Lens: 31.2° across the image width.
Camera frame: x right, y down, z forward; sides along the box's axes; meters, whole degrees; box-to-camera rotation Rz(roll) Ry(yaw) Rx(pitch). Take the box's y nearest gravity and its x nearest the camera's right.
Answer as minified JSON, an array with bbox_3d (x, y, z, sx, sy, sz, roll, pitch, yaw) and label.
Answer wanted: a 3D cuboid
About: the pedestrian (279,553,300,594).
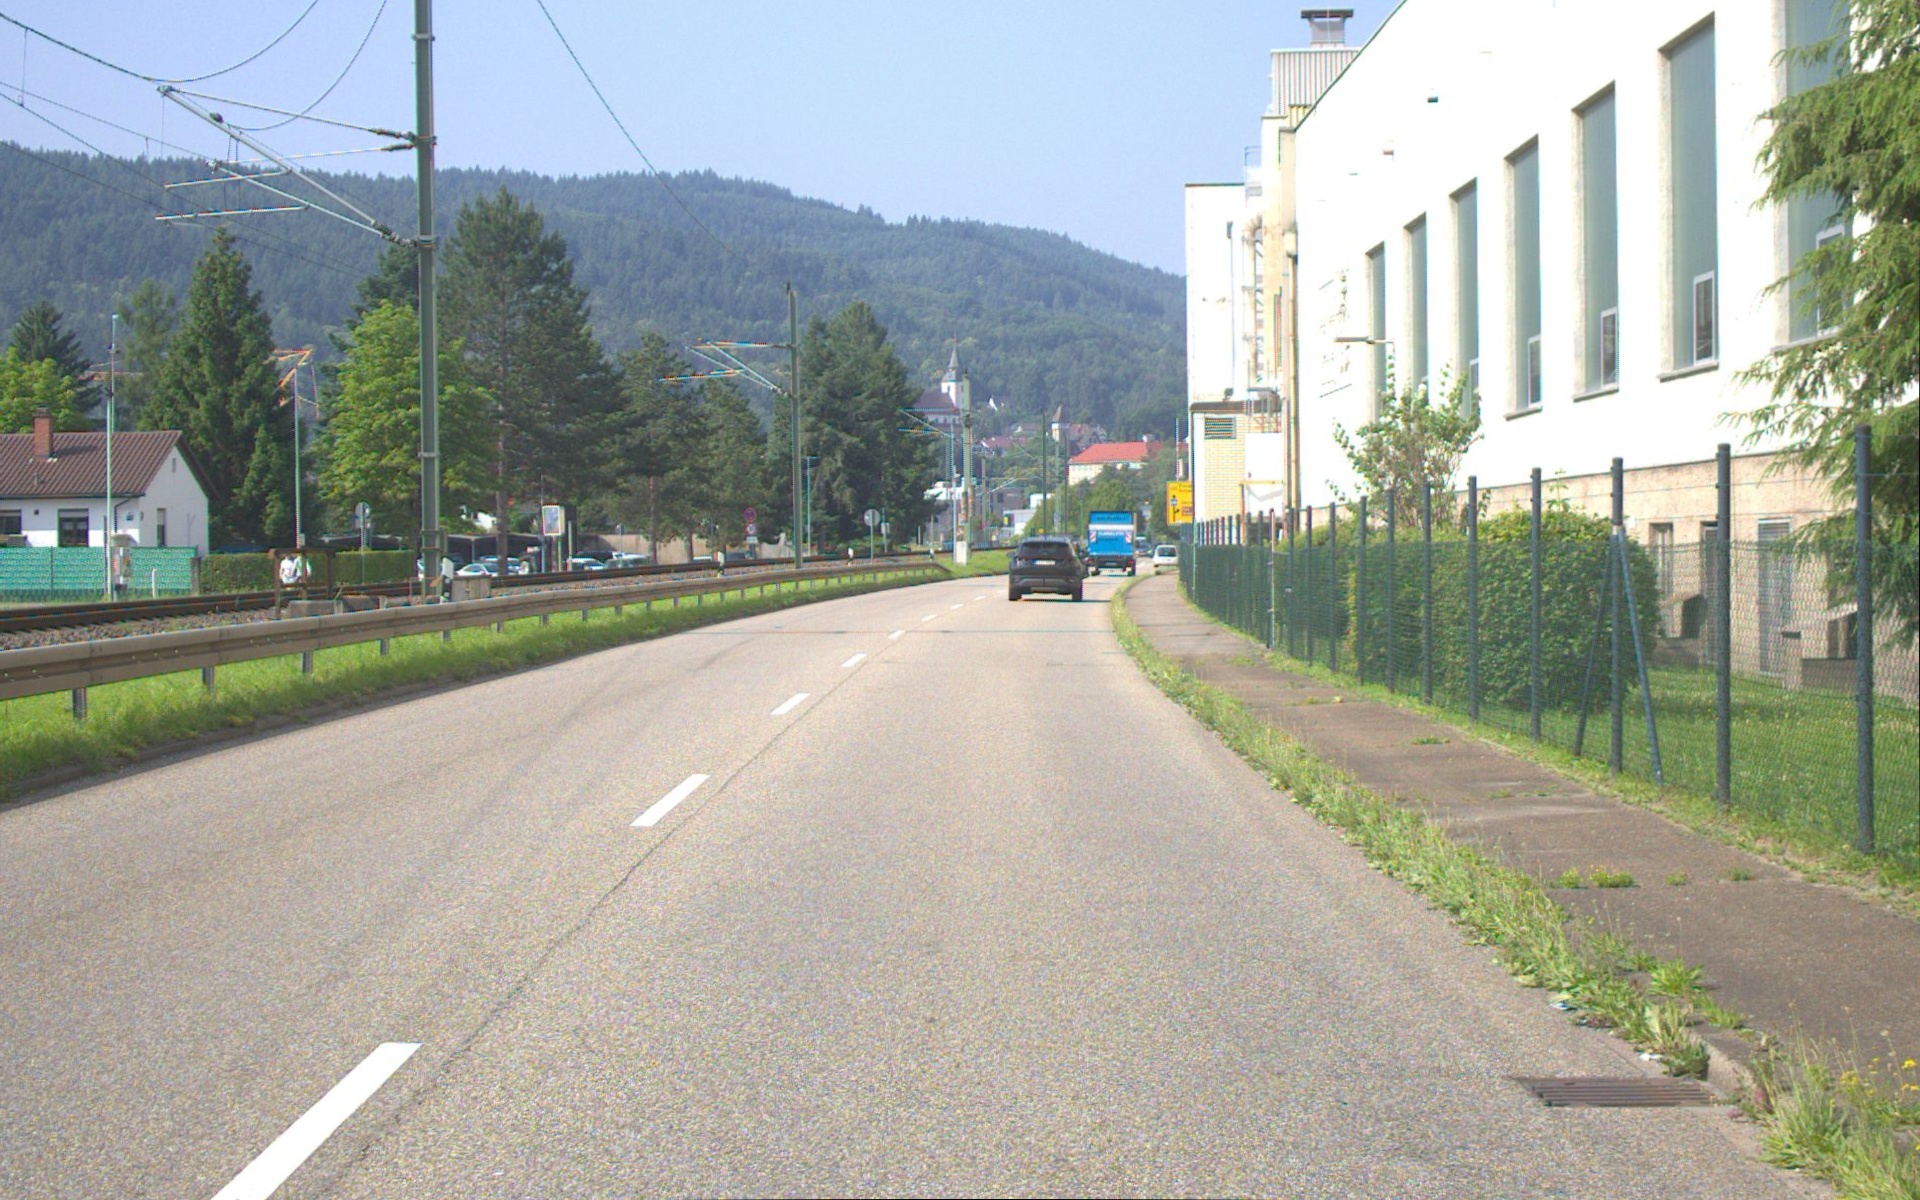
[{"bbox_3d":[-21.985,-0.859,112.692,0.573,1.327,0.674,-1,1,-4],"label":"pedestrian"}]

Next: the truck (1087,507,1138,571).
[{"bbox_3d":[7.256,-2.903,163.211,2.313,2.960,5.965,0,1,3],"label":"truck"}]

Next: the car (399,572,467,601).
[{"bbox_3d":[-26.596,-0.669,173.404,1.683,1.438,3.851,-1,1,-38],"label":"car"}]

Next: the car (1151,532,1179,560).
[{"bbox_3d":[13.505,-3.573,226.317,1.667,1.816,3.751,0,1,6],"label":"car"}]

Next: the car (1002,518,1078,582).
[{"bbox_3d":[2.068,-1.303,89.246,1.919,1.634,4.000,0,1,1],"label":"car"}]
